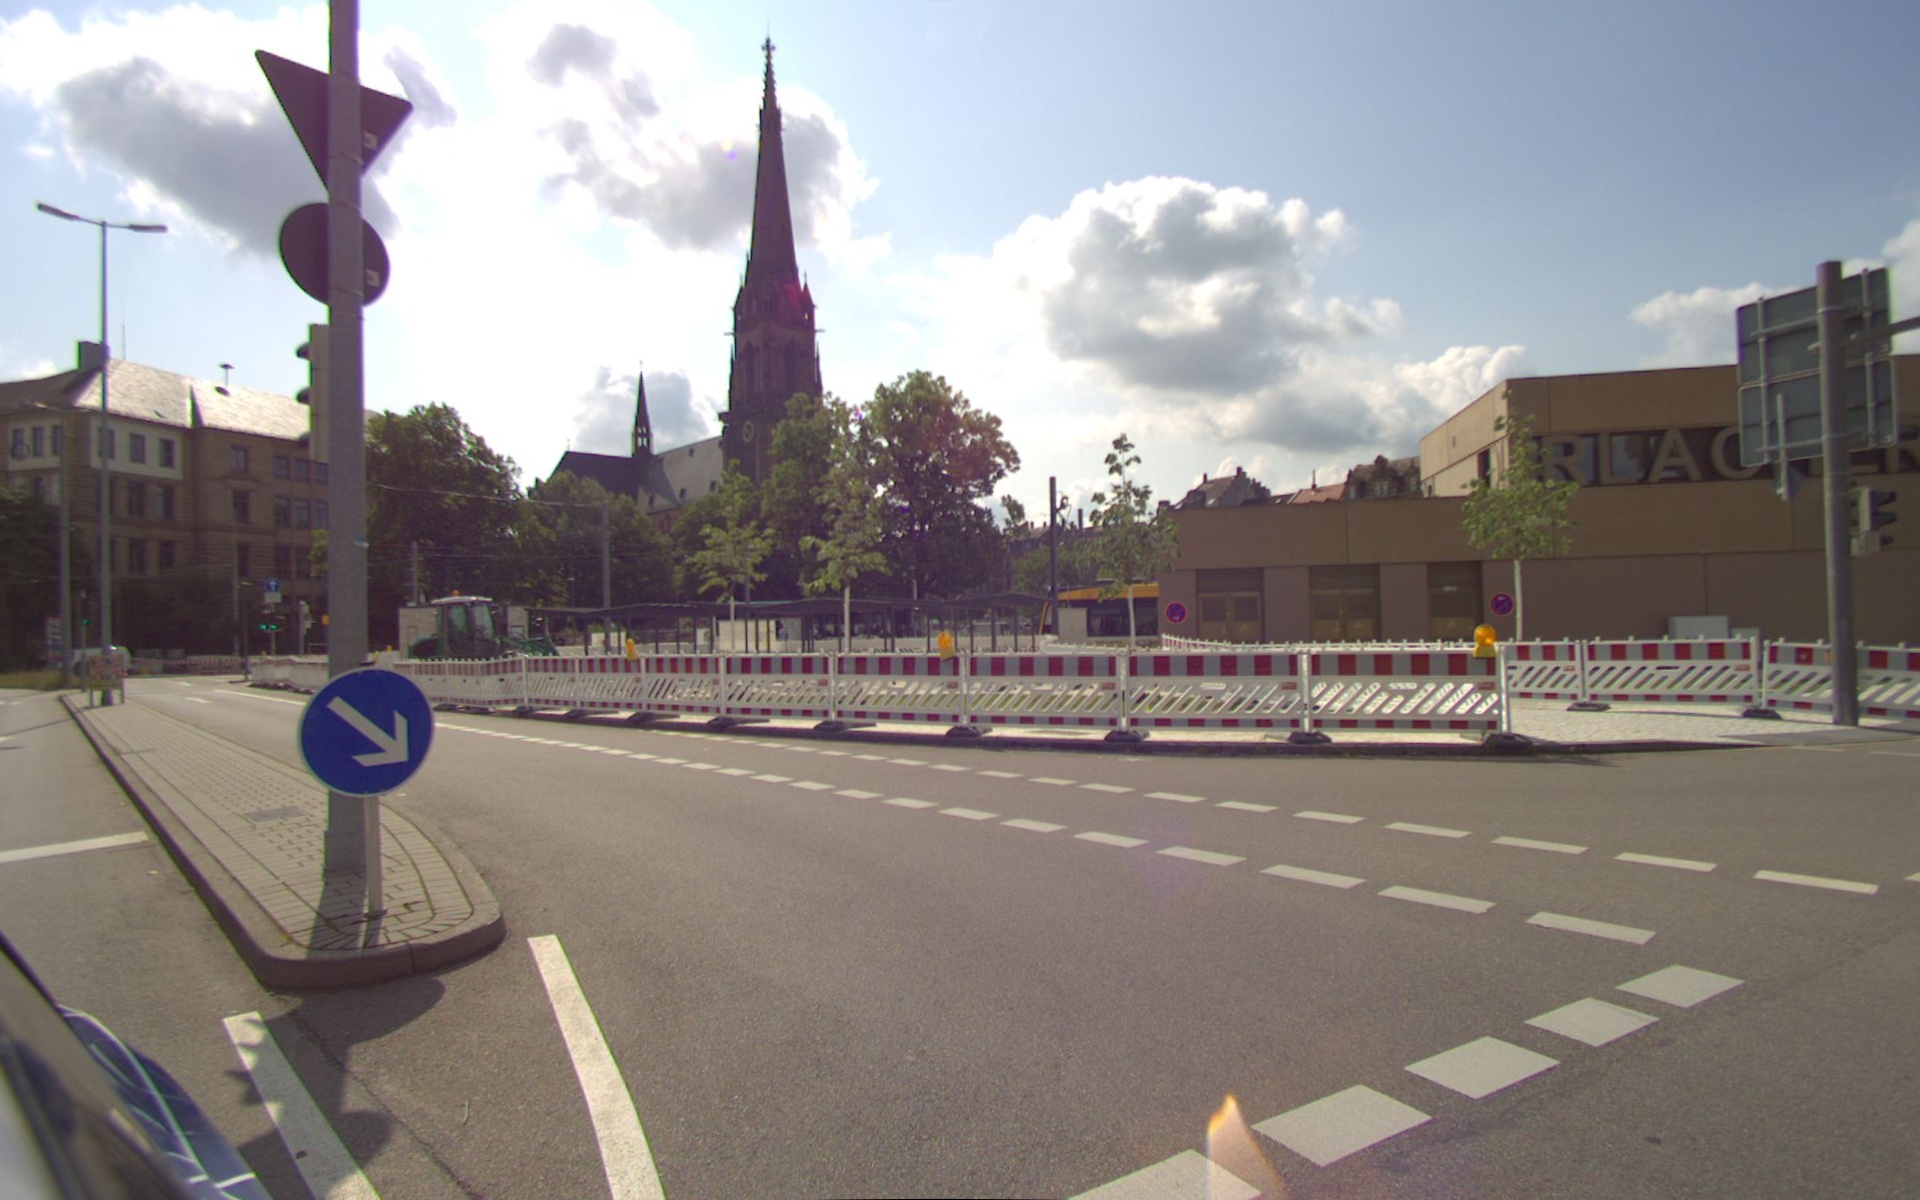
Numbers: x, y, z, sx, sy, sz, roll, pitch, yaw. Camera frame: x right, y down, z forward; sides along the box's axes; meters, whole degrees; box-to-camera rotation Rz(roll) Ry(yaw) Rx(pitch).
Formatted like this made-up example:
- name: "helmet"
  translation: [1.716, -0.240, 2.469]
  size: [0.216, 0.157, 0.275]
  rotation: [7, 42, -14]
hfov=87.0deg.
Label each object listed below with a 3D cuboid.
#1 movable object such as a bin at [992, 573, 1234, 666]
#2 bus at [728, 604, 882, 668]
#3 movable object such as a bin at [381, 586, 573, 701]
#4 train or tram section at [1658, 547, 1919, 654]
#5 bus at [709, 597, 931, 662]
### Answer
- name: "movable object such as a bin"
  translation: [6.352, 0.868, 42.233]
  size: [9.593, 3.450, 3.008]
  rotation: [-2, -2, 14]
- name: "bus"
  translation: [-8.124, 1.927, 53.265]
  size: [7.683, 3.081, 2.364]
  rotation: [-2, -2, 12]
- name: "movable object such as a bin"
  translation: [-13.303, 1.208, 28.042]
  size: [4.393, 2.972, 1.997]
  rotation: [-2, -2, 4]
- name: "train or tram section"
  translation: [32.742, 0.024, 36.429]
  size: [12.286, 3.599, 2.658]
  rotation: [-2, -2, 13]
- name: "bus"
  translation: [-7.765, 1.663, 56.284]
  size: [11.951, 3.287, 2.982]
  rotation: [-2, -2, 12]
